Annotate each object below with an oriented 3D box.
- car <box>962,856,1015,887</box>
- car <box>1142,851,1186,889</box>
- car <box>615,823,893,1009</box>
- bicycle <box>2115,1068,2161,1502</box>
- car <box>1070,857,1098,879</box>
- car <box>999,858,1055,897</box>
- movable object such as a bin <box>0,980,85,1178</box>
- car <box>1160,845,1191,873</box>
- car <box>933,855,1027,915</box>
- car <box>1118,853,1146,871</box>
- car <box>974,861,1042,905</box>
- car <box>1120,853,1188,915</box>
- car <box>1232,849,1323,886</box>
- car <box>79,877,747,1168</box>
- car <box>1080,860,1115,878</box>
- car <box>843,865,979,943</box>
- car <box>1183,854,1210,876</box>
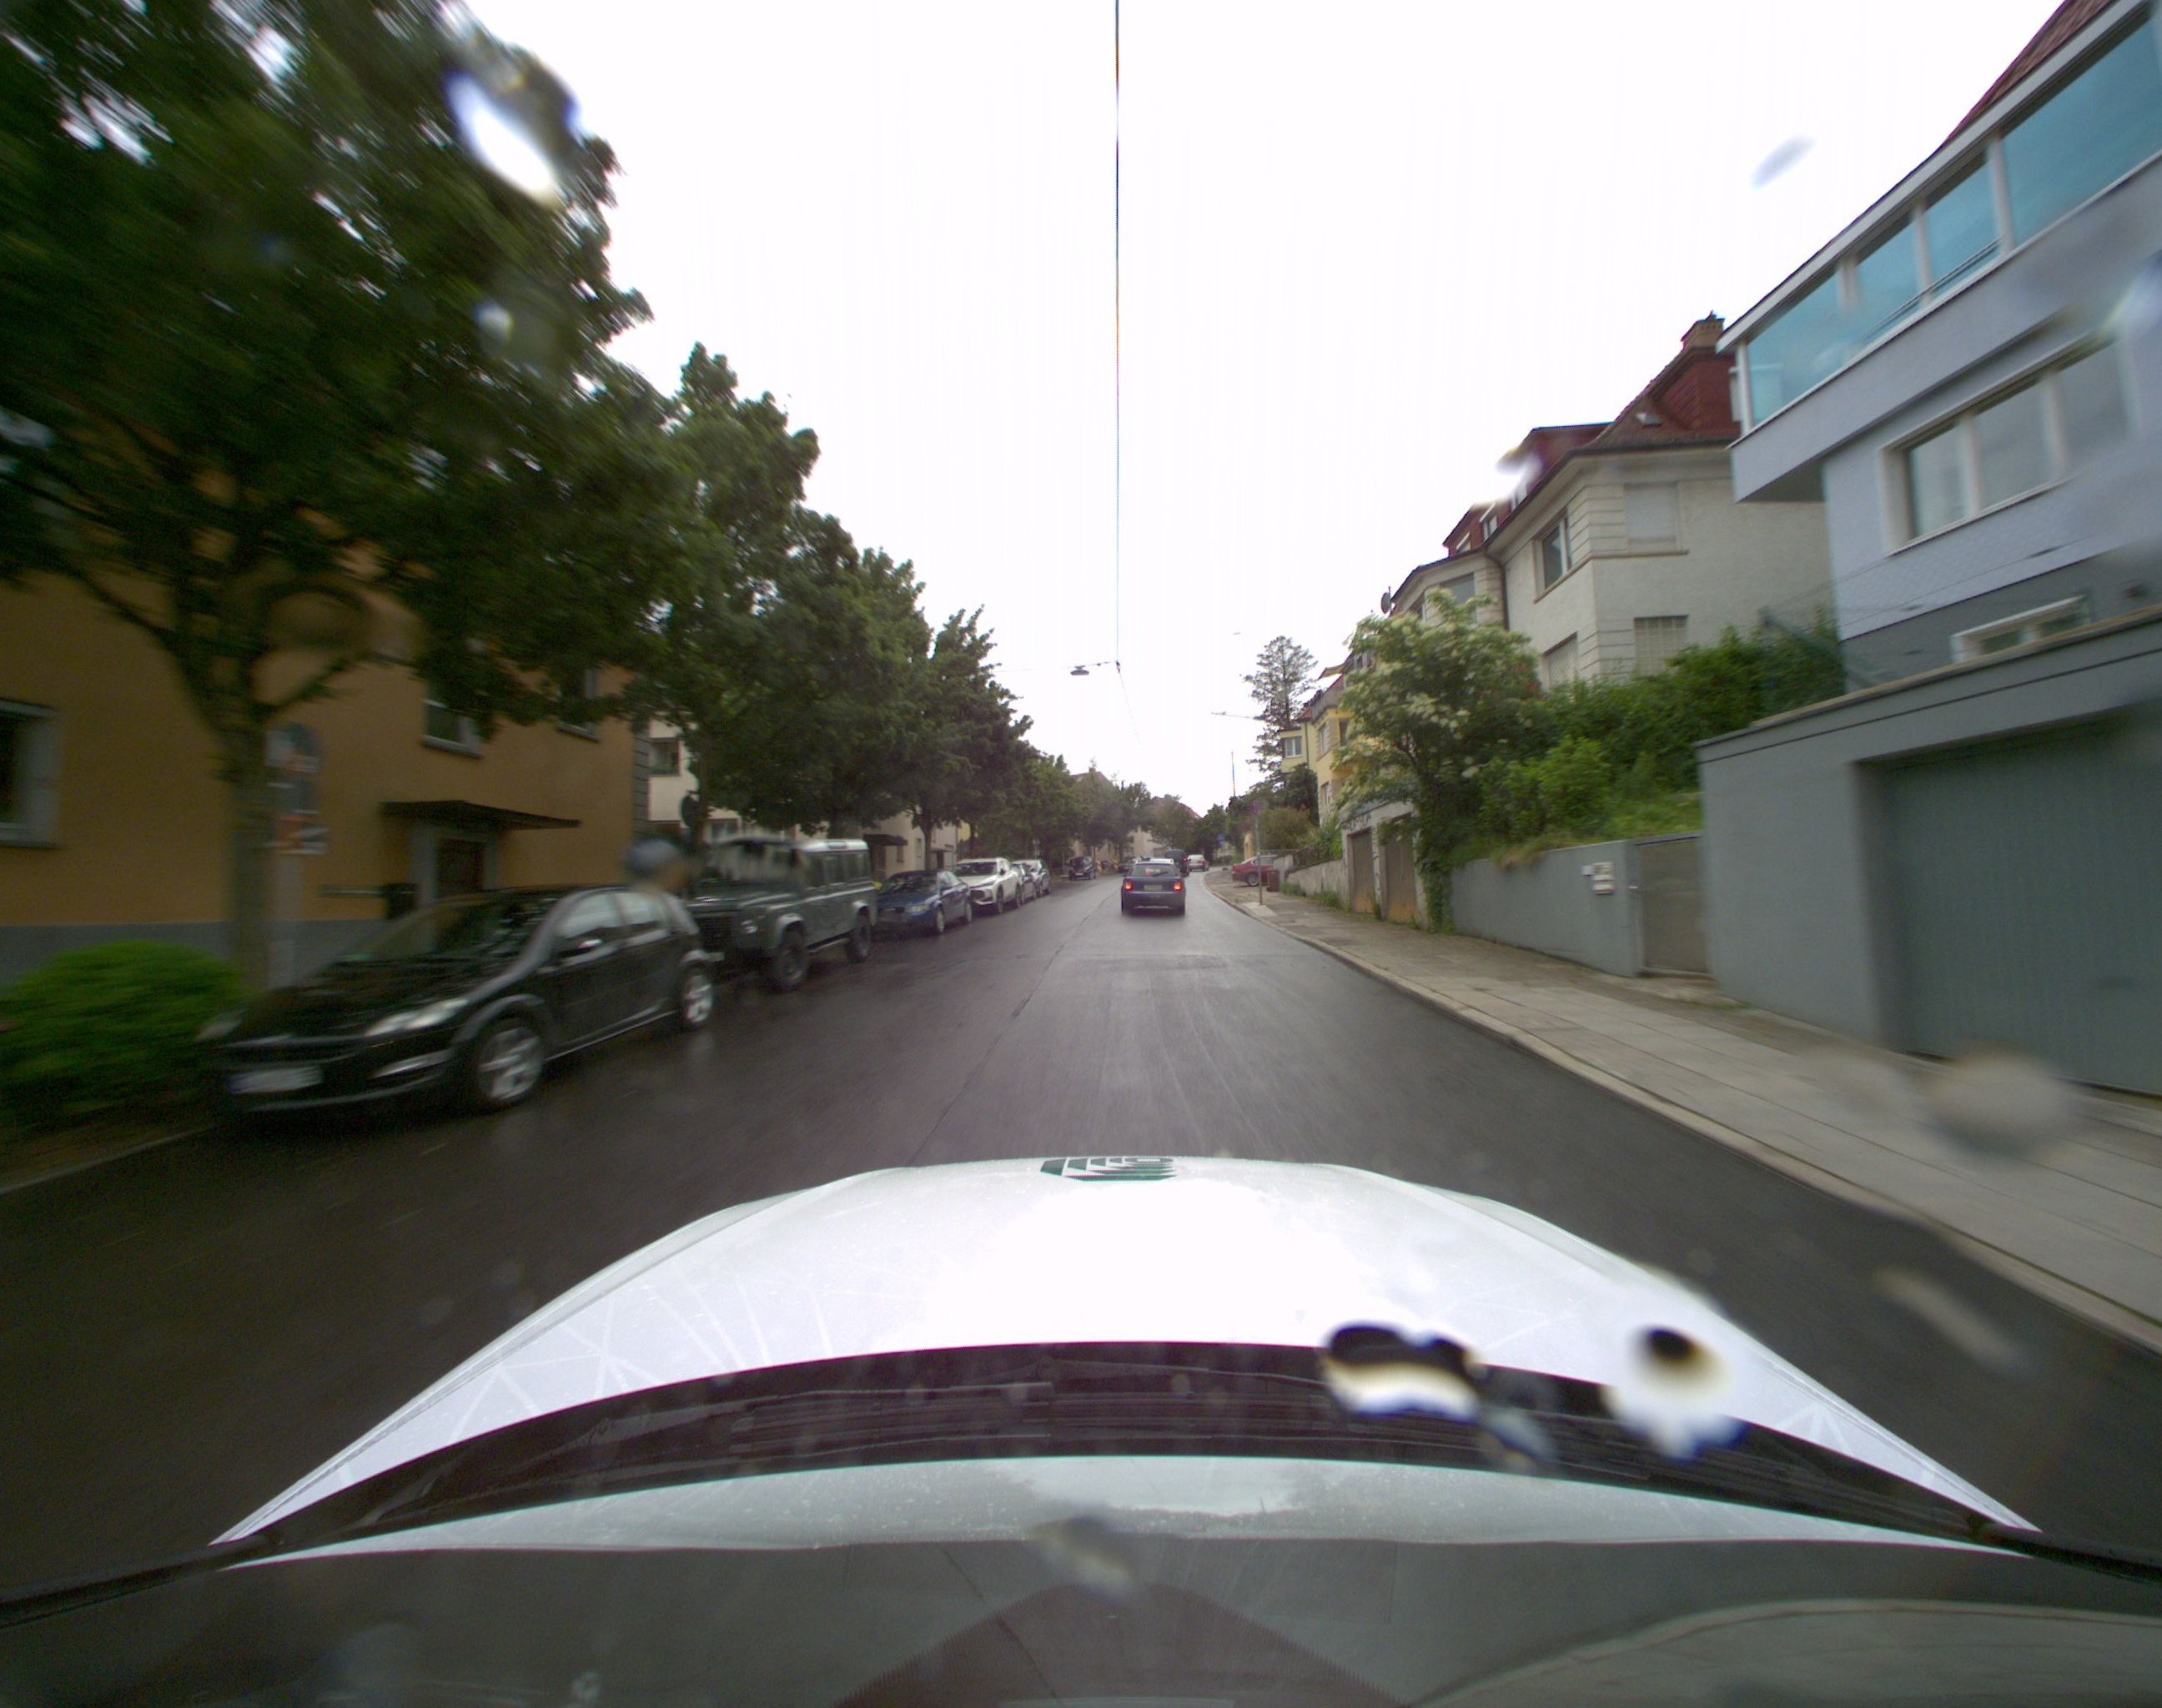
[{"bbox_3d":[-6.465,1.213,57.075,3.193,1.740,1.482,-7,0,6],"label":"car"},{"bbox_3d":[4.072,0.726,39.291,1.965,1.635,4.244,1,1,7],"label":"car"},{"bbox_3d":[-4.371,0.707,11.903,1.784,2.049,4.785,-4,0,3],"label":"car"},{"bbox_3d":[2.781,0.986,1.083,0.727,0.965,1.672,0,0,3],"label":"bicycle"},{"bbox_3d":[0.201,0.917,55.294,1.466,1.295,3.228,1,1,8],"label":"car"},{"bbox_3d":[-2.327,1.015,35.904,1.759,1.539,4.014,-3,-1,6],"label":"car"},{"bbox_3d":[-6.221,1.276,4.410,0.681,1.011,0.707,-6,0,-4],"label":"movable object such as a bin"},{"bbox_3d":[6.675,0.317,57.327,1.722,1.768,4.250,1,1,12],"label":"car"},{"bbox_3d":[-3.007,0.902,25.296,1.759,1.627,4.698,-3,-1,7],"label":"car"},{"bbox_3d":[4.525,0.666,71.780,1.721,1.466,4.016,1,1,15],"label":"car"},{"bbox_3d":[-2.657,1.053,30.707,1.759,1.473,4.014,-3,-1,6],"label":"car"},{"bbox_3d":[2.085,0.775,23.009,1.725,1.466,4.007,1,1,5],"label":"car"},{"bbox_3d":[9.123,0.611,38.143,3.963,1.466,1.744,-3,1,9],"label":"car"},{"bbox_3d":[-4.625,1.004,6.711,1.761,1.436,4.349,-3,0,2],"label":"car"},{"bbox_3d":[1.730,1.571,84.873,3.182,1.372,1.488,-9,0,22],"label":"car"},{"bbox_3d":[-3.782,1.064,19.017,1.760,1.387,4.640,-3,1,5],"label":"car"},{"bbox_3d":[10.151,0.909,71.087,1.720,1.768,4.253,1,1,16],"label":"car"}]
